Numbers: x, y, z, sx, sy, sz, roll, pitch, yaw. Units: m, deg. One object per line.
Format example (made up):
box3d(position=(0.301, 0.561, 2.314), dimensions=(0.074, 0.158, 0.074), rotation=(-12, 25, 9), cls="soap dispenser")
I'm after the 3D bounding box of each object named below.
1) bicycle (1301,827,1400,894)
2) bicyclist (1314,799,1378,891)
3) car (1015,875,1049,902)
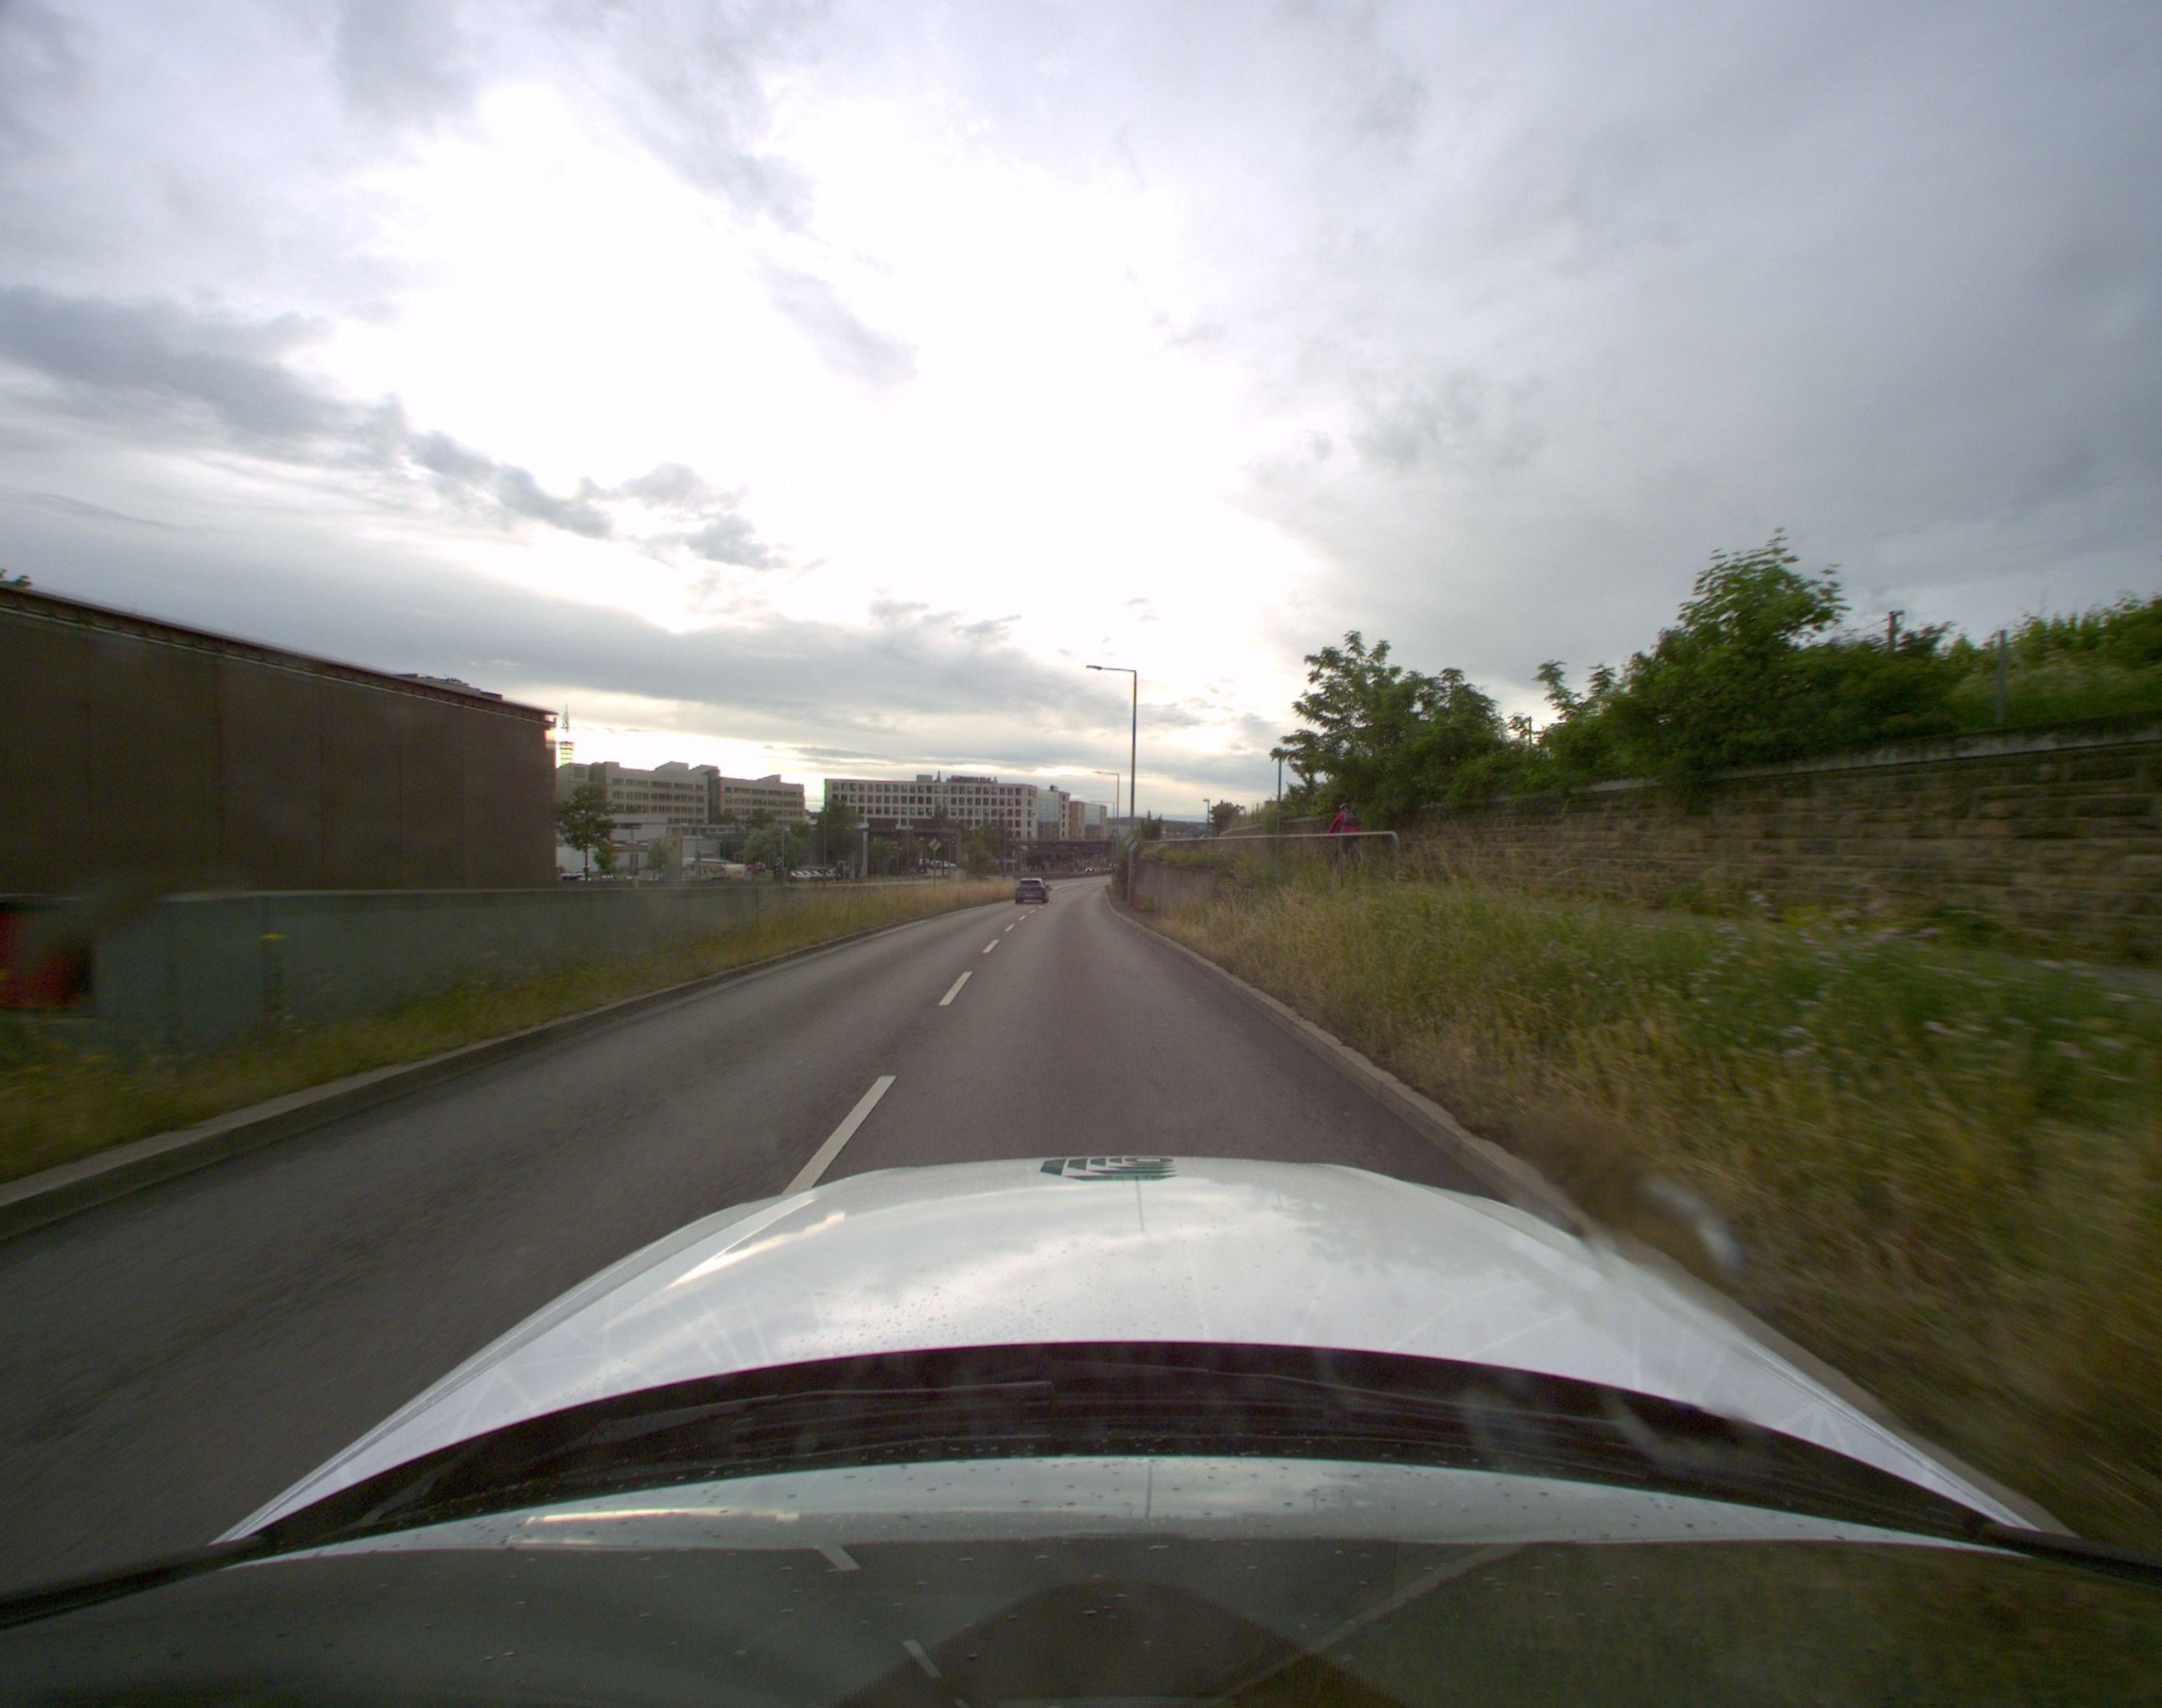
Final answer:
box3d(position=(5.793, 0.082, 17.803), dimensions=(0.866, 1.288, 3.485), rotation=(3, 1, -2), cls="bicycle")
box3d(position=(5.798, -0.211, 17.906), dimensions=(0.867, 1.908, 1.293), rotation=(3, 1, -2), cls="bicyclist")
box3d(position=(-2.816, 1.991, 47.683), dimensions=(1.743, 1.420, 3.479), rotation=(-1, 1, 1), cls="car")
